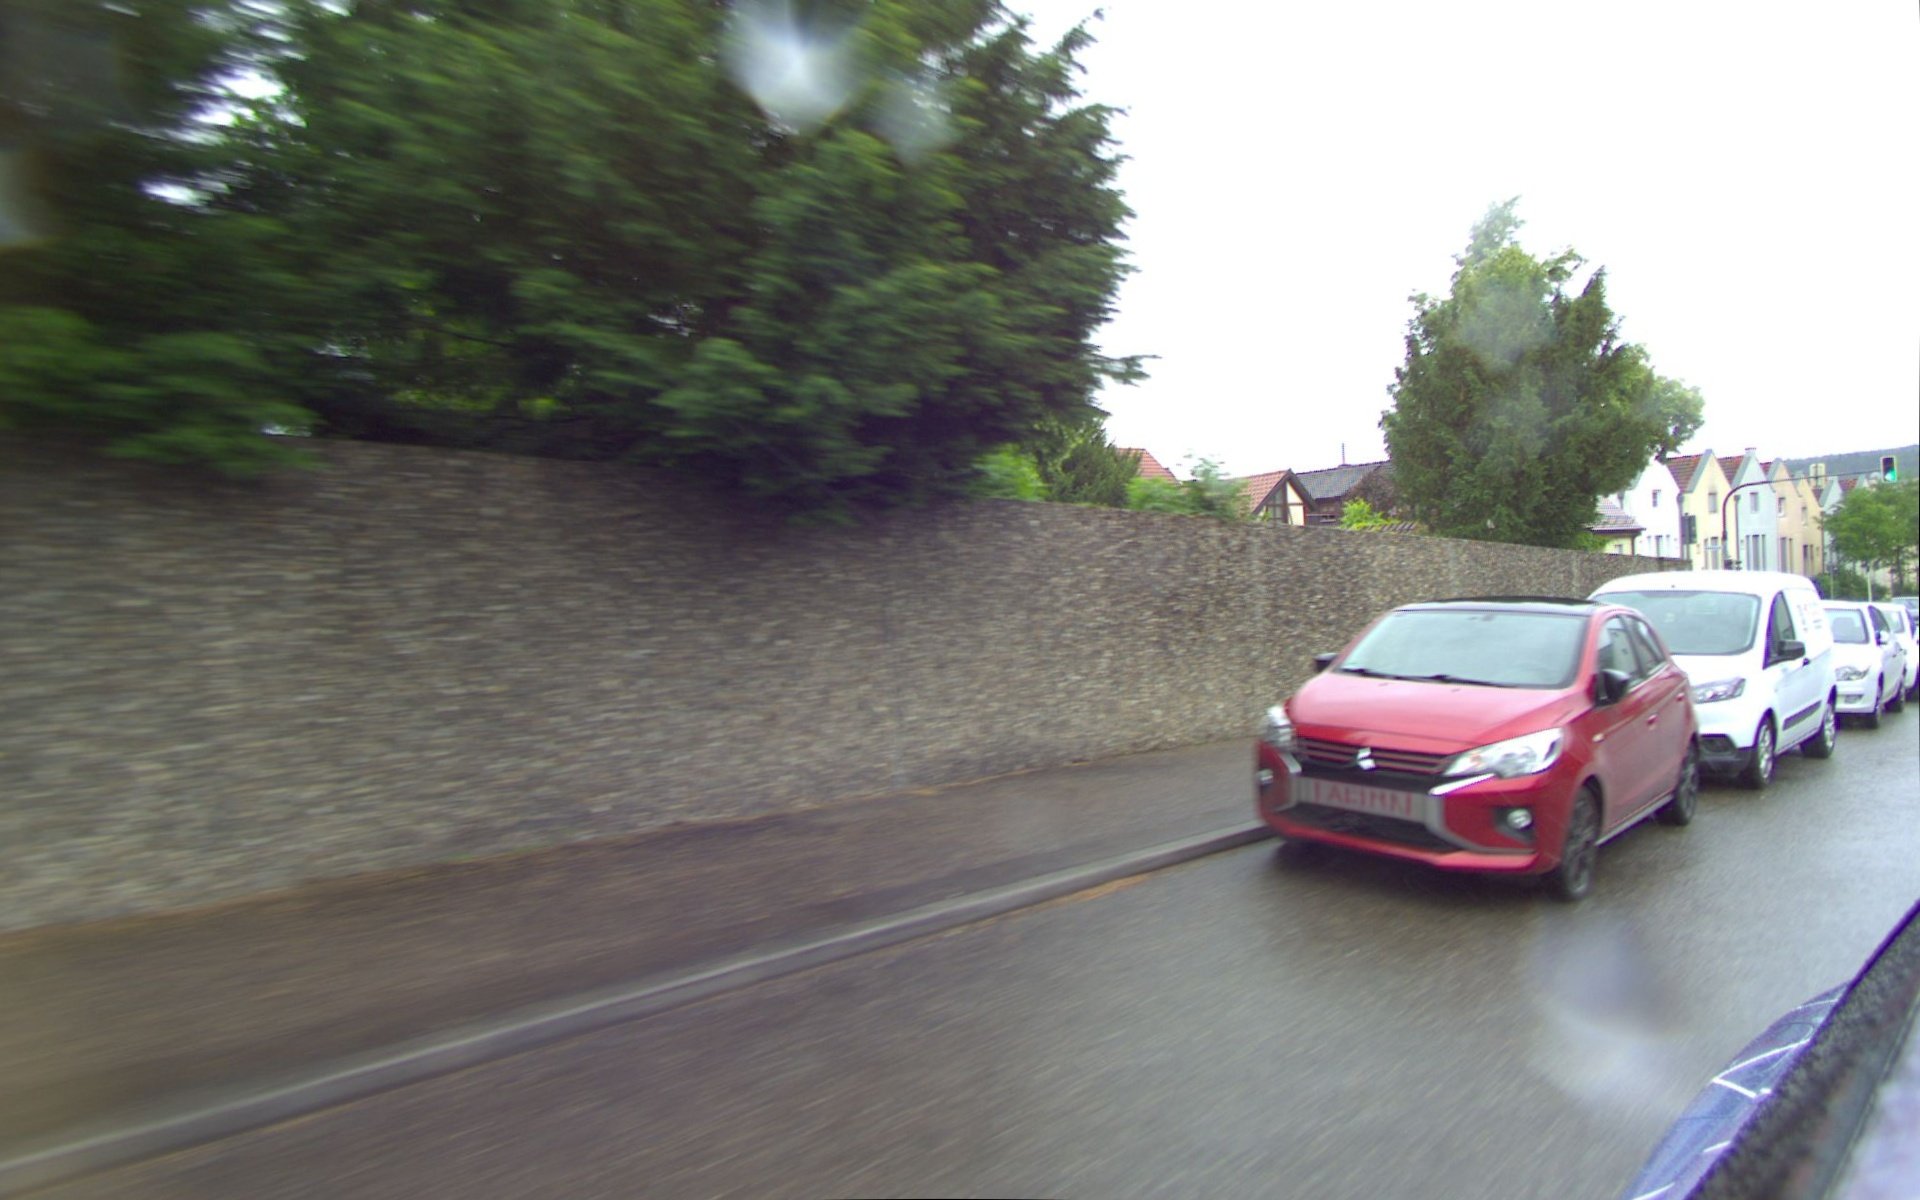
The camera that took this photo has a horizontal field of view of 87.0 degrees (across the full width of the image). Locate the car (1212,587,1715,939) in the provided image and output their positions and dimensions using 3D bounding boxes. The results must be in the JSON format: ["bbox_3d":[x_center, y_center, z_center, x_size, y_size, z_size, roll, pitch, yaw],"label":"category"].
[{"bbox_3d":[3.203,0.685,6.103,3.603,1.473,1.585,0,1,-44],"label":"car"}]

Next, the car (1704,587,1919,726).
[{"bbox_3d":[11.090,0.615,12.964,3.930,1.481,1.648,-1,-1,-41],"label":"car"}]

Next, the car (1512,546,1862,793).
[{"bbox_3d":[6.723,0.523,9.193,4.063,1.763,1.640,0,-2,-41],"label":"car"}]

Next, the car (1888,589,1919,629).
[{"bbox_3d":[39.502,0.340,41.414,3.935,1.549,1.995,-2,1,-44],"label":"car"}]

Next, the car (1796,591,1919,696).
[{"bbox_3d":[14.836,0.621,16.301,3.970,1.499,1.613,-1,-1,-43],"label":"car"}]
